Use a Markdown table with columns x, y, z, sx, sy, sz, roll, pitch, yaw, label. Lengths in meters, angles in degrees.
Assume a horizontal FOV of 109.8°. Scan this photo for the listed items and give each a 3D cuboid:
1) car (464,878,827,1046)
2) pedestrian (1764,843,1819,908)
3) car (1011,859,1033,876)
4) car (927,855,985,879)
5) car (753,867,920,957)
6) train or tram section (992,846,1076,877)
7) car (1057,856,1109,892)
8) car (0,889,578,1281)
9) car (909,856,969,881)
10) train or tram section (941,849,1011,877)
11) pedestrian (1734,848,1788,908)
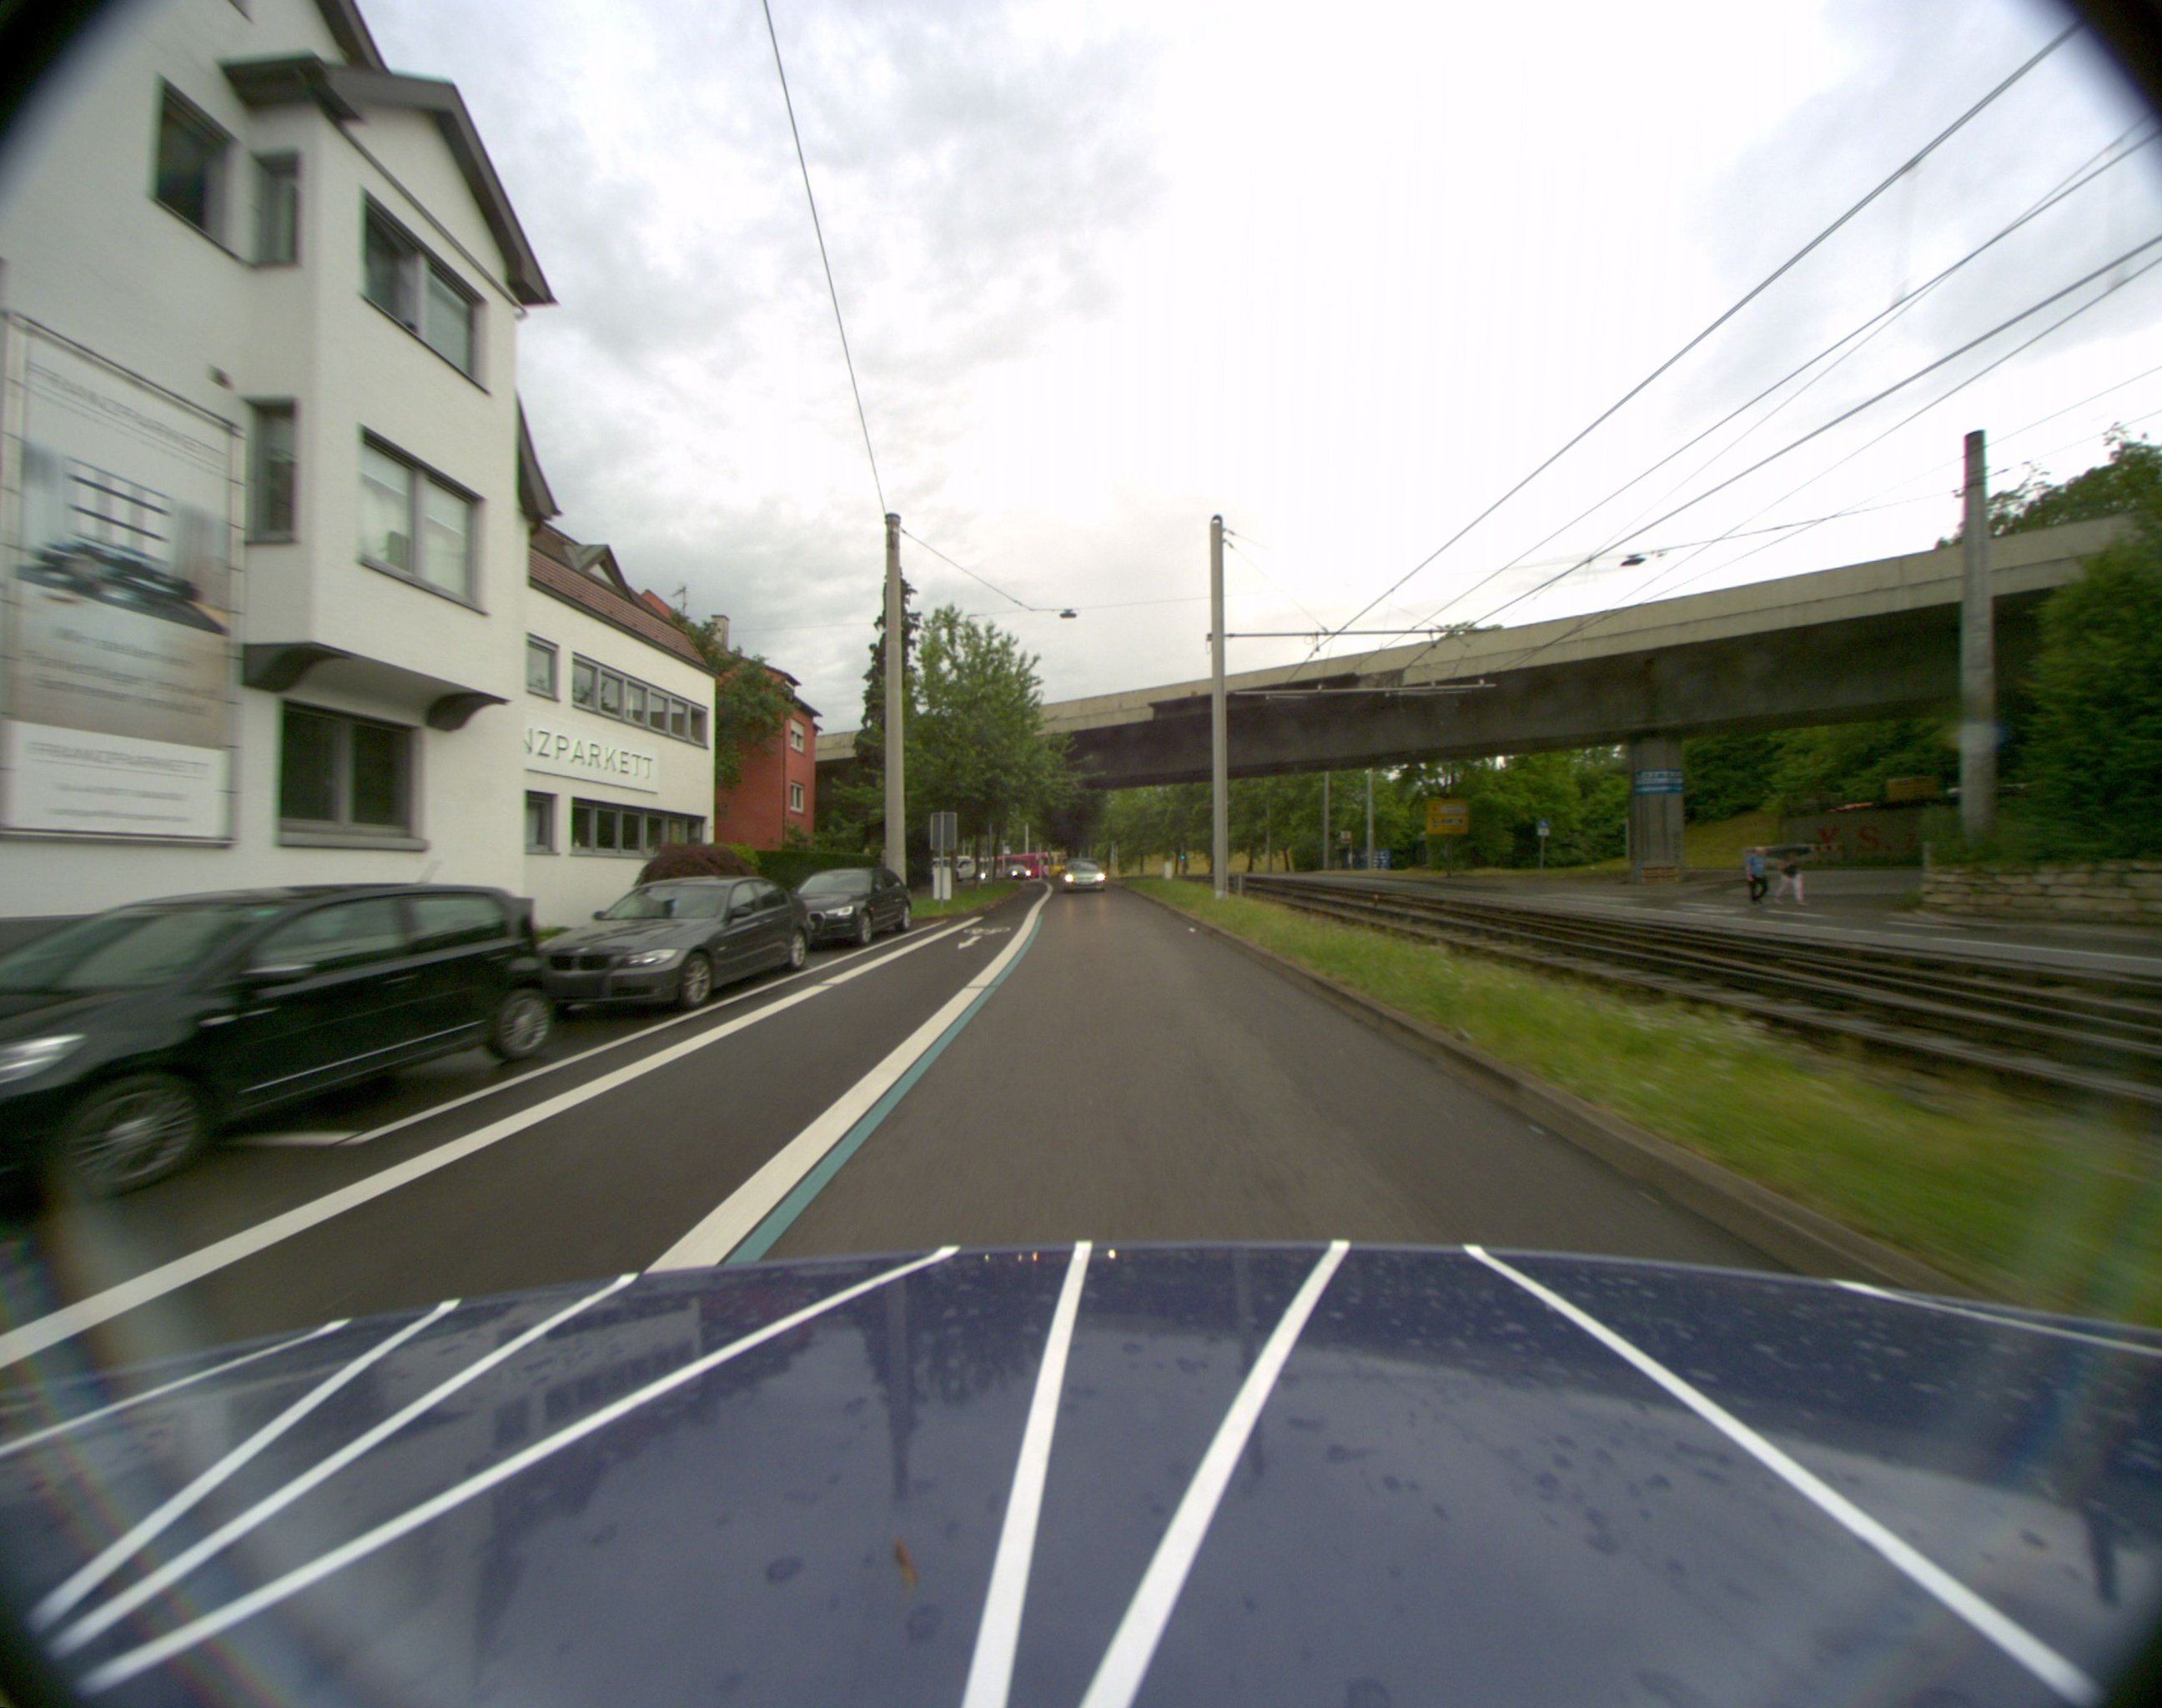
| x | y | z | sx | sy | sz | roll | pitch | yaw | label |
| --- | --- | --- | --- | --- | --- | --- | --- | --- | --- |
| -4.920 | 1.104 | 9.523 | 1.716 | 1.404 | 4.566 | -1 | 0 | 3 | car |
| 20.458 | 0.613 | 21.893 | 0.695 | 1.820 | 0.866 | -2 | 0 | 1 | pedestrian |
| -5.688 | 1.267 | 72.495 | 1.782 | 1.493 | 3.997 | -1 | 0 | -9 | car |
| -8.229 | 0.844 | 50.414 | 1.798 | 1.513 | 3.743 | -2 | -1 | 30 | car |
| -4.702 | 1.040 | 15.379 | 1.681 | 1.414 | 4.566 | -2 | 0 | 3 | car |
| -6.969 | 1.143 | 105.721 | 2.881 | 3.938 | 19.286 | -3 | 0 | -31 | train or tram section |
| 0.145 | 0.870 | 33.595 | 1.779 | 1.492 | 4.003 | 0 | -1 | 8 | car |
| -5.313 | 1.072 | 4.816 | 1.581 | 1.443 | 3.720 | -1 | 1 | 3 | car |
| -9.793 | 0.983 | 52.684 | 1.962 | 1.621 | 4.032 | -2 | -1 | 30 | car |
| -17.194 | 1.535 | 122.089 | 2.882 | 3.947 | 19.284 | -3 | 1 | -34 | train or tram section |
| 19.453 | 0.690 | 21.755 | 0.695 | 1.660 | 0.888 | -2 | 0 | 4 | pedestrian |
